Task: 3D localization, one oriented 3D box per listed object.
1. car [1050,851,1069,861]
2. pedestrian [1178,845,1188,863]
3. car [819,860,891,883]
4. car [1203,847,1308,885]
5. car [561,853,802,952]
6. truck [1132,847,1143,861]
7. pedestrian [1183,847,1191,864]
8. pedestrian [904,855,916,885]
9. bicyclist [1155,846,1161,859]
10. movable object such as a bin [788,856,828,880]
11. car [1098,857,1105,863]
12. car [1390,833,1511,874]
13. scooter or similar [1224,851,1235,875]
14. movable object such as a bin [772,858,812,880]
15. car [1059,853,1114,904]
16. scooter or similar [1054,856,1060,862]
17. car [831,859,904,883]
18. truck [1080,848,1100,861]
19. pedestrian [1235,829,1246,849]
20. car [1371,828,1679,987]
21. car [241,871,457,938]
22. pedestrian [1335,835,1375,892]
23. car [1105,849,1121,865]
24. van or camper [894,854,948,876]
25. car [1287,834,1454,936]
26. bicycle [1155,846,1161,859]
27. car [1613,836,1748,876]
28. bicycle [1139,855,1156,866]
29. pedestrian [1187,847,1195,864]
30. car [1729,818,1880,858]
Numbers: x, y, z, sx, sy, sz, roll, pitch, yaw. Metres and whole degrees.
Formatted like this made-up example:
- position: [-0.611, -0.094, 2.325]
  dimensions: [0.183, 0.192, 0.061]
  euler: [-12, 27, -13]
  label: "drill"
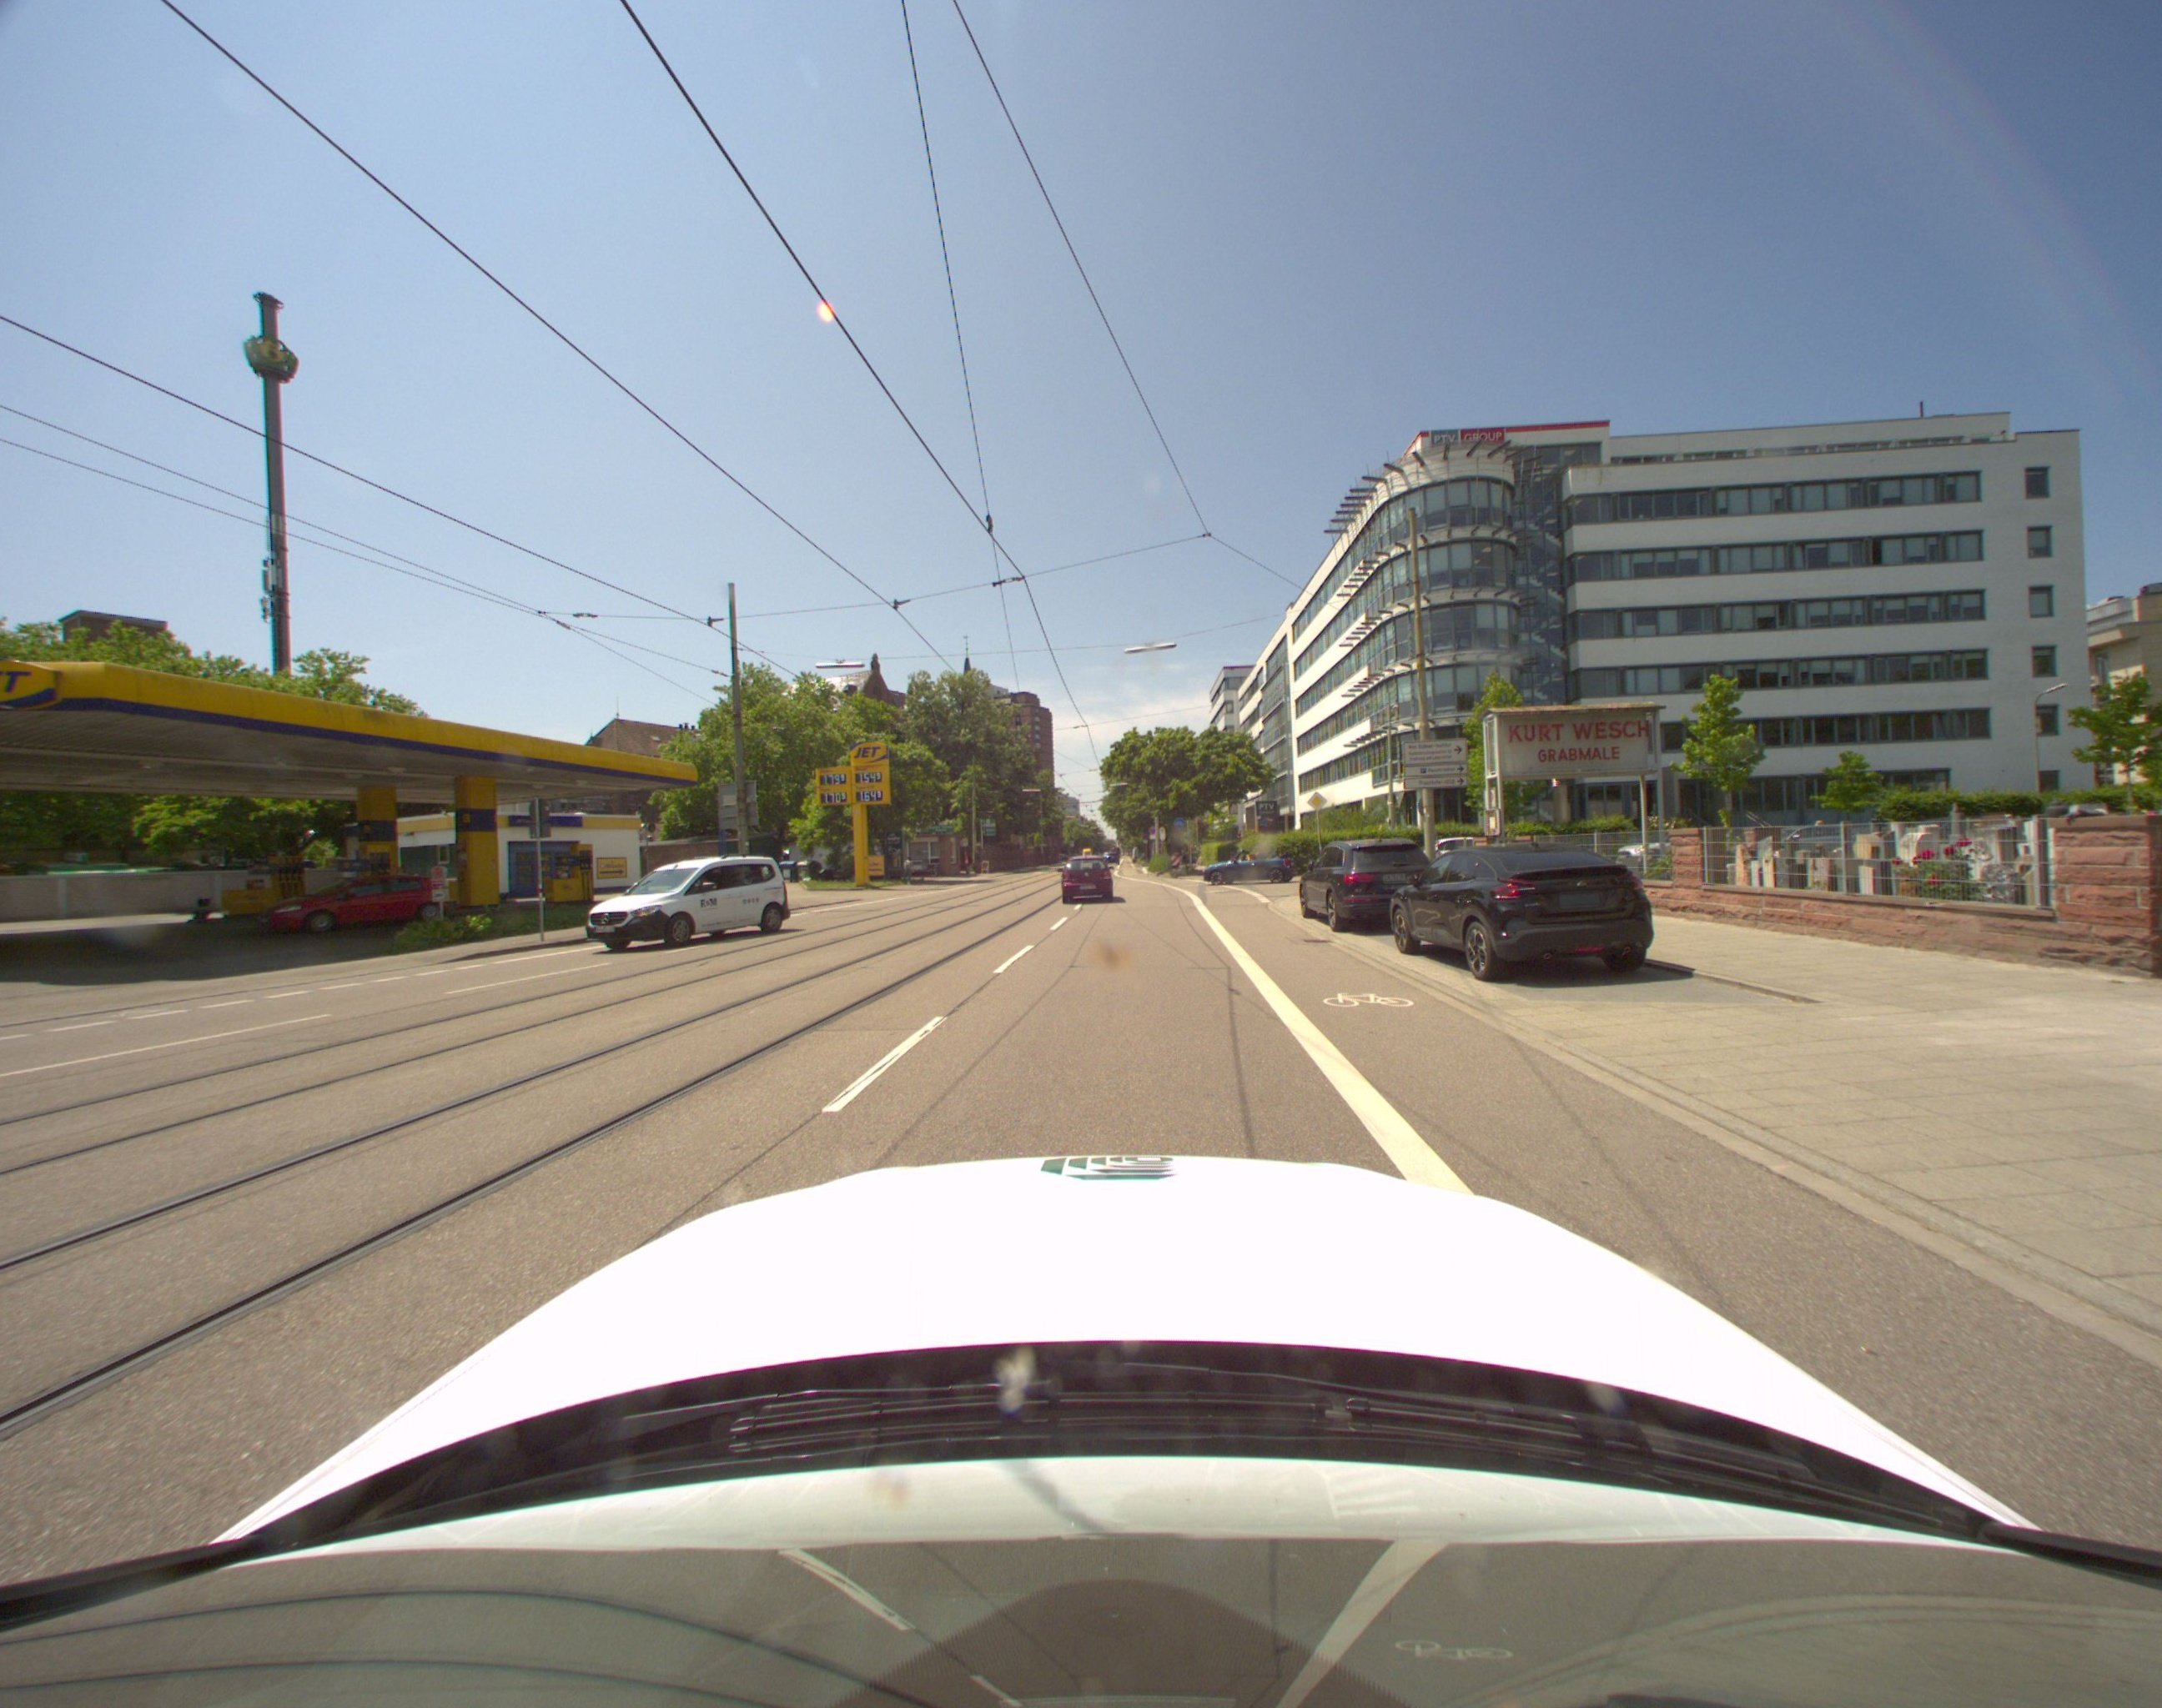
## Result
- position: [-4.757, 0.429, 181.269]
  dimensions: [3.966, 2.013, 2.004]
  euler: [-2, 0, 7]
  label: "car"
- position: [10.643, -0.012, 84.919]
  dimensions: [0.681, 1.796, 0.668]
  euler: [-3, -1, -28]
  label: "pedestrian"
- position: [-15.772, 1.196, 56.937]
  dimensions: [1.911, 1.488, 4.478]
  euler: [-1, 0, 42]
  label: "car"
- position: [7.179, 0.506, 33.551]
  dimensions: [3.877, 1.372, 1.714]
  euler: [-3, -1, 27]
  label: "car"
- position: [-8.429, 0.944, 17.727]
  dimensions: [1.977, 1.799, 4.575]
  euler: [-2, 0, 19]
  label: "car"
- position: [10.914, -0.072, 157.447]
  dimensions: [1.985, 2.662, 4.879]
  euler: [-1, 0, 3]
  label: "truck"
- position: [10.985, 0.120, 84.245]
  dimensions: [0.540, 1.715, 0.561]
  euler: [-3, -1, -26]
  label: "pedestrian"
- position: [-10.413, 0.962, 49.540]
  dimensions: [0.578, 1.775, 0.699]
  euler: [-1, 0, 0]
  label: "pedestrian"
- position: [11.142, -0.237, 117.802]
  dimensions: [0.693, 1.799, 0.889]
  euler: [-4, -1, 6]
  label: "bicyclist"
- position: [-18.295, 0.924, 54.602]
  dimensions: [1.507, 1.509, 2.112]
  euler: [-1, 0, 27]
  label: "movable object such as a bin"
- position: [5.937, 1.627, 230.923]
  dimensions: [1.763, 1.516, 4.003]
  euler: [-2, 0, 3]
  label: "car"
- position: [15.056, -0.007, 33.369]
  dimensions: [4.127, 1.459, 1.821]
  euler: [-2, 0, 6]
  label: "car"
- position: [7.950, 0.480, 43.540]
  dimensions: [0.323, 1.222, 1.158]
  euler: [-1, 0, 24]
  label: "scooter or similar"
- position: [-19.642, 0.987, 55.420]
  dimensions: [1.507, 1.432, 2.112]
  euler: [-1, 0, 27]
  label: "movable object such as a bin"
- position: [0.258, 0.750, 26.771]
  dimensions: [1.612, 1.486, 4.002]
  euler: [-2, 0, 2]
  label: "car"
- position: [-4.487, 0.921, 151.506]
  dimensions: [1.091, 1.155, 0.524]
  euler: [-1, 0, -18]
  label: "scooter or similar"
- position: [-14.478, 1.112, 55.482]
  dimensions: [1.911, 1.488, 4.478]
  euler: [-1, 0, 43]
  label: "car"
- position: [2.102, 0.038, 189.750]
  dimensions: [2.350, 2.787, 7.354]
  euler: [-2, 0, 19]
  label: "truck"
- position: [14.403, -1.378, 73.514]
  dimensions: [0.868, 1.715, 1.093]
  euler: [-4, -1, 13]
  label: "pedestrian"
- position: [5.435, 0.575, 10.755]
  dimensions: [1.765, 1.548, 4.472]
  euler: [-4, -1, 4]
  label: "car"
- position: [-20.894, 1.373, 23.478]
  dimensions: [1.809, 1.504, 4.224]
  euler: [0, 2, 26]
  label: "car"
- position: [8.262, 0.291, 24.561]
  dimensions: [0.839, 1.667, 0.730]
  euler: [-2, 0, -18]
  label: "pedestrian"
- position: [4.277, 0.417, 109.380]
  dimensions: [1.986, 2.013, 4.001]
  euler: [-1, 0, 1]
  label: "car"
- position: [-12.681, 0.869, 64.744]
  dimensions: [3.768, 1.629, 1.873]
  euler: [-1, 1, 3]
  label: "van or camper"
- position: [5.751, 0.541, 16.916]
  dimensions: [1.915, 1.693, 5.088]
  euler: [-4, 0, 4]
  label: "car"
- position: [11.156, -0.211, 117.842]
  dimensions: [0.686, 1.785, 1.814]
  euler: [-4, -1, 6]
  label: "bicycle"
- position: [24.293, 0.061, 33.087]
  dimensions: [4.133, 1.409, 1.768]
  euler: [-2, 0, 1]
  label: "car"
- position: [7.758, 0.763, 95.261]
  dimensions: [1.876, 1.182, 0.695]
  euler: [-3, -1, 2]
  label: "bicycle"
- position: [11.418, 0.172, 84.705]
  dimensions: [0.540, 1.715, 0.561]
  euler: [-3, -1, -26]
  label: "pedestrian"
- position: [29.245, -0.638, 33.027]
  dimensions: [4.432, 1.409, 1.769]
  euler: [-2, 0, 2]
  label: "car"
